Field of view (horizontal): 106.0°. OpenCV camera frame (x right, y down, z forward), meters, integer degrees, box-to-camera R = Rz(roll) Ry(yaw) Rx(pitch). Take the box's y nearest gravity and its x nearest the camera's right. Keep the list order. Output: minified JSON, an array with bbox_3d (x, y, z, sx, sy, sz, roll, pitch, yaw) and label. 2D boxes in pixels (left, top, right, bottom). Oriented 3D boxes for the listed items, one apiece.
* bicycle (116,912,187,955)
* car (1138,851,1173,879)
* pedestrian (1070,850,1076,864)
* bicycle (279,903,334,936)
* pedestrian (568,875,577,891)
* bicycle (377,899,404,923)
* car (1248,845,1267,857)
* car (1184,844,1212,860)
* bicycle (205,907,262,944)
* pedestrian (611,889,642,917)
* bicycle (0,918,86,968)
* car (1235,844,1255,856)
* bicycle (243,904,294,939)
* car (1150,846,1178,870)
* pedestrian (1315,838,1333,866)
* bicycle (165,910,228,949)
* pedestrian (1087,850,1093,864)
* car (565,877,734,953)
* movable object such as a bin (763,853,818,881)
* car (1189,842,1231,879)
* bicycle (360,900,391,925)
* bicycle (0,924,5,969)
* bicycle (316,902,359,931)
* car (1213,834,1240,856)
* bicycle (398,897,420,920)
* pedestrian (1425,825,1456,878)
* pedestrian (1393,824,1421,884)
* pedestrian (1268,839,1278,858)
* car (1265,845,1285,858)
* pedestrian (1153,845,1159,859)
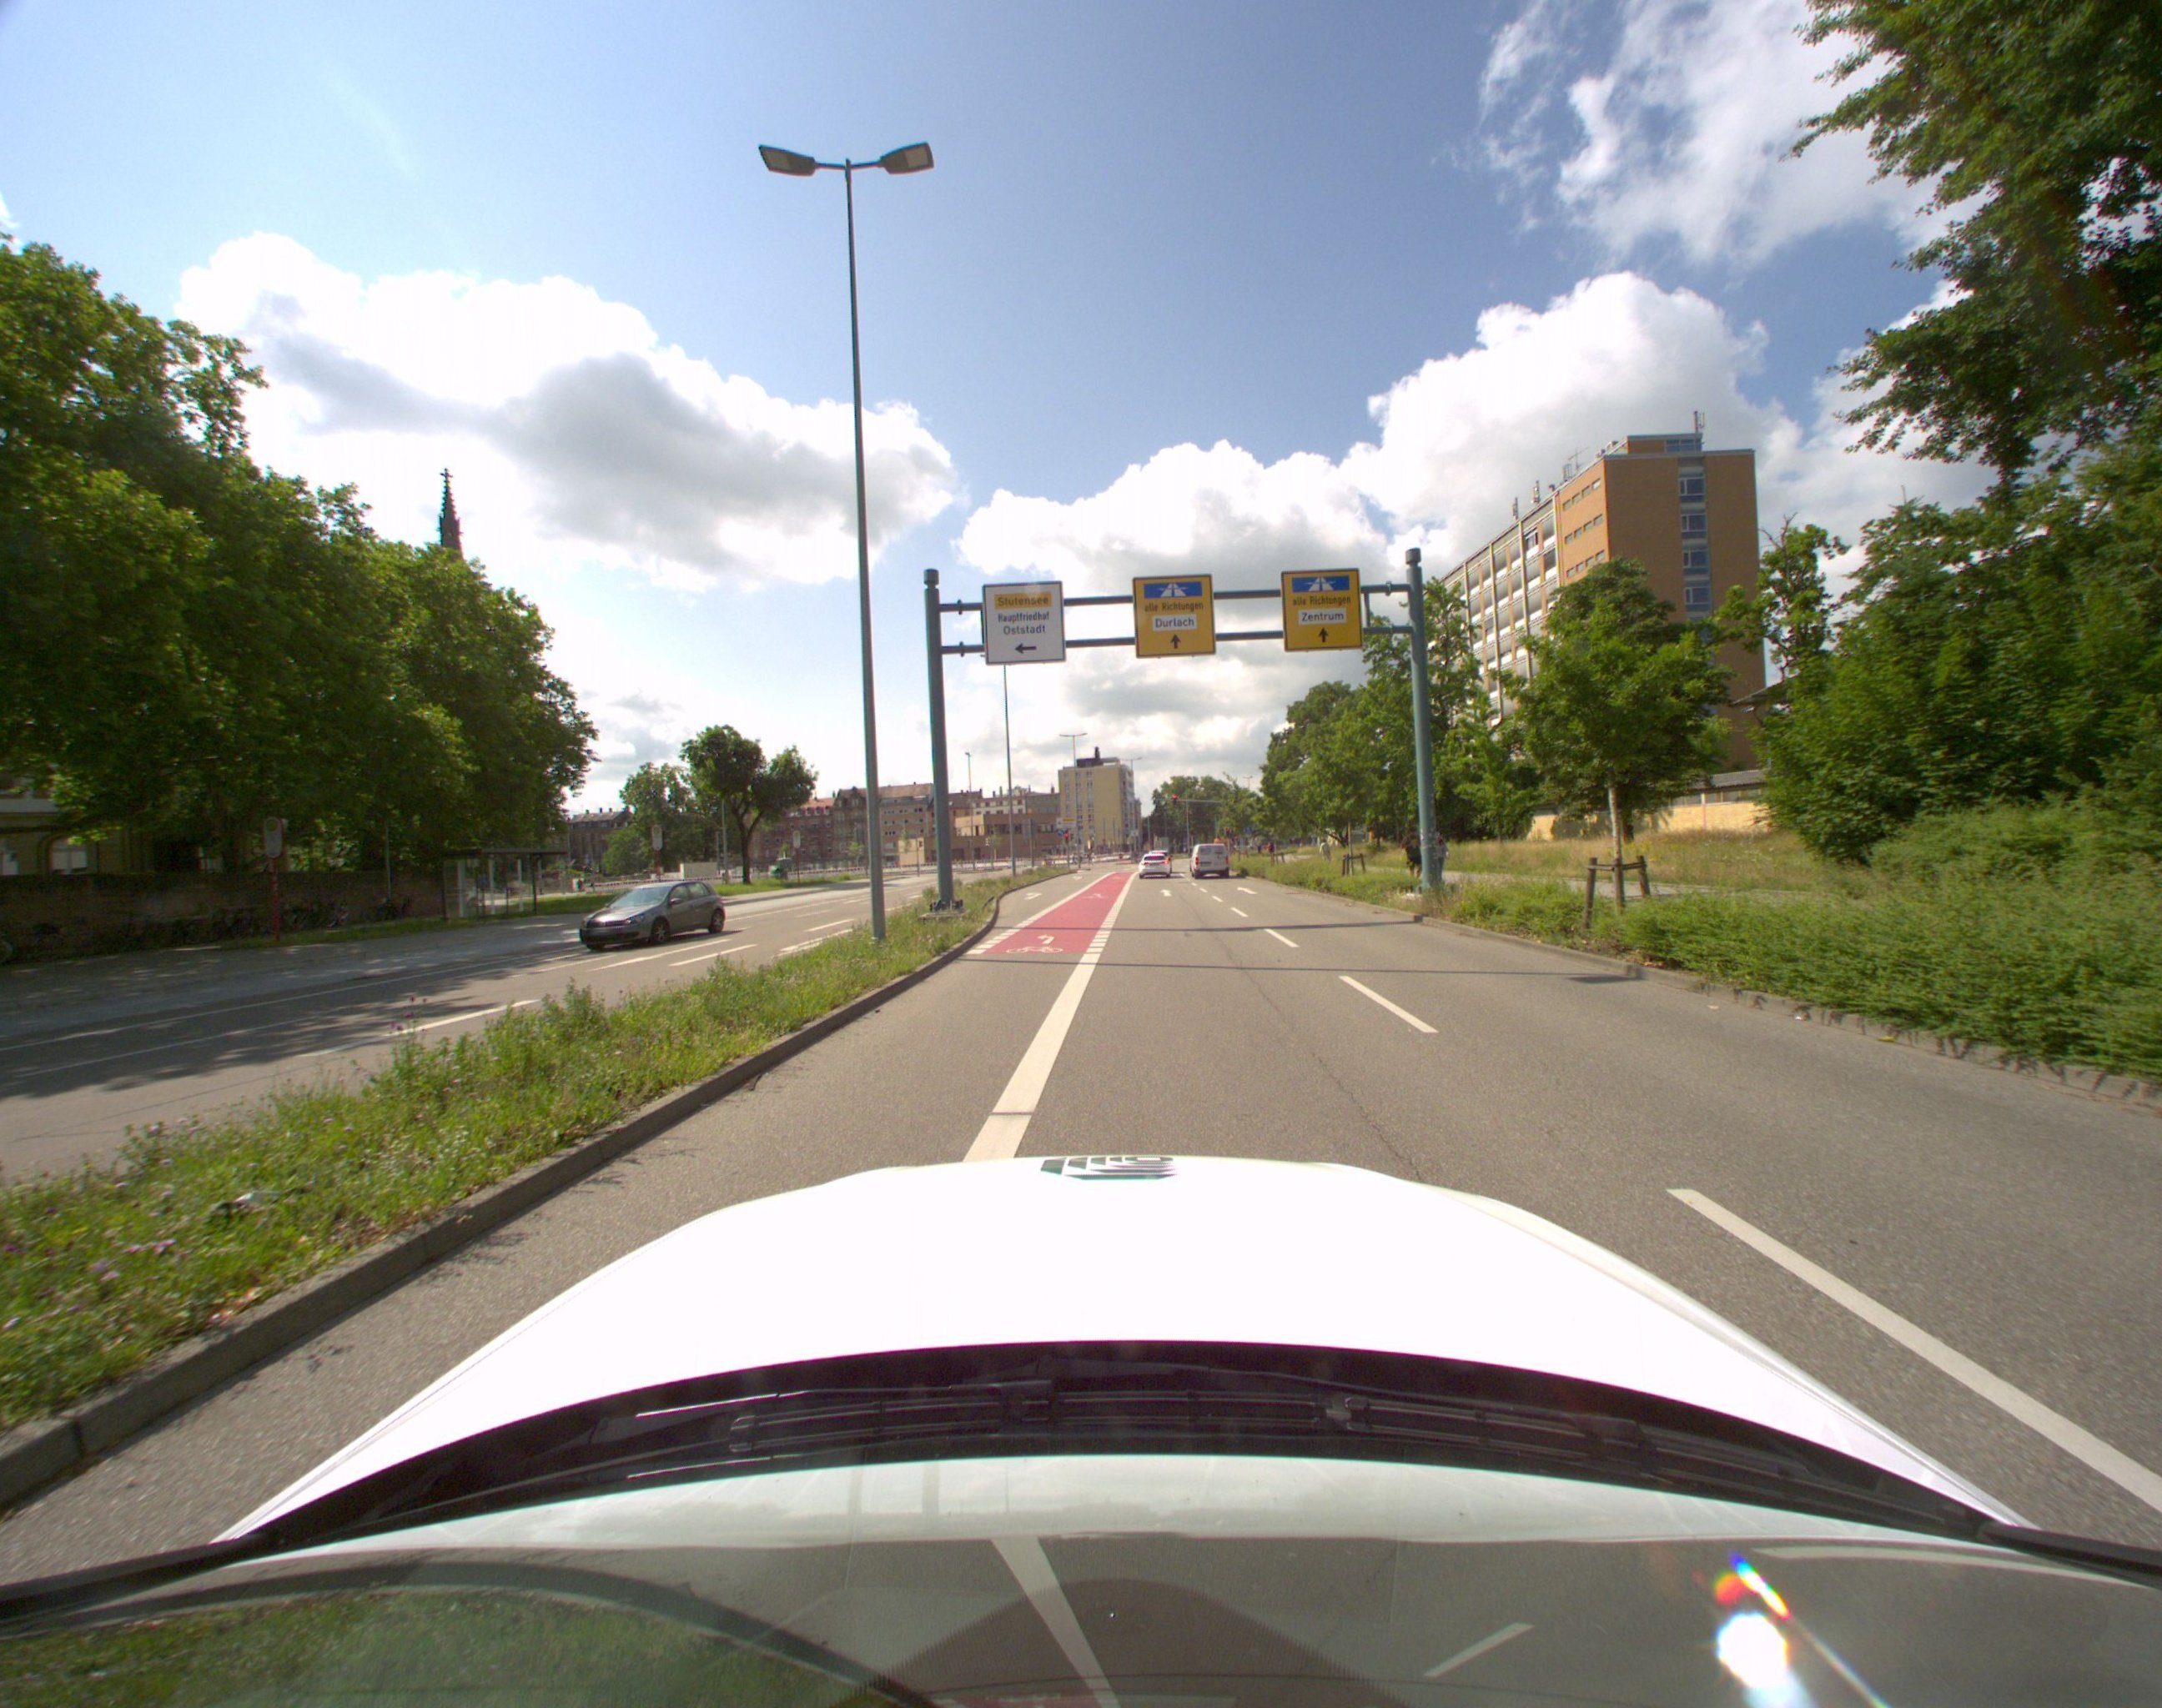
[{"bbox_3d":[-27.230,2.316,23.892,0.584,1.073,1.621,-3,0,-18],"label":"bicycle"},{"bbox_3d":[4.408,0.616,48.200,1.894,1.424,4.391,-3,0,5],"label":"car"},{"bbox_3d":[-0.972,0.374,99.946,0.521,1.733,0.626,-3,0,14],"label":"pedestrian"},{"bbox_3d":[-29.382,2.469,30.929,0.583,1.073,1.861,-3,0,-13],"label":"bicycle"},{"bbox_3d":[-58.195,3.311,93.218,0.524,1.850,0.501,-3,-1,11],"label":"pedestrian"},{"bbox_3d":[-32.350,2.660,38.154,0.392,1.011,1.362,-3,0,-17],"label":"bicycle"},{"bbox_3d":[30.396,-0.531,140.242,1.972,1.938,4.667,-4,0,28],"label":"car"},{"bbox_3d":[13.753,-0.197,95.593,1.974,1.816,4.025,0,0,30],"label":"car"},{"bbox_3d":[-28.260,2.375,27.191,0.584,1.073,1.621,-3,0,-18],"label":"bicycle"},{"bbox_3d":[-16.964,1.828,30.399,0.691,0.963,0.743,-2,0,2],"label":"pedestrian"},{"bbox_3d":[-26.260,2.228,20.544,0.584,1.073,1.745,-3,0,-18],"label":"bicycle"},{"bbox_3d":[26.958,-0.715,134.112,1.974,1.826,4.025,-4,0,30],"label":"car"},{"bbox_3d":[-28.869,2.386,28.965,0.584,1.073,1.621,-3,0,-18],"label":"bicycle"},{"bbox_3d":[5.708,0.262,56.250,1.782,1.539,4.017,-1,0,5],"label":"car"},{"bbox_3d":[14.625,-0.139,49.016,0.863,1.638,0.722,-3,0,6],"label":"pedestrian"},{"bbox_3d":[-27.694,2.344,25.529,0.584,1.073,1.621,-3,0,-18],"label":"bicycle"},{"bbox_3d":[1.069,0.380,98.565,0.521,1.733,0.626,-3,0,14],"label":"pedestrian"},{"bbox_3d":[-10.533,1.431,20.264,1.693,1.445,4.150,-4,0,4],"label":"car"},{"bbox_3d":[-33.838,1.506,94.986,5.573,2.884,2.260,-3,-1,-42],"label":"movable object such as a bin"},{"bbox_3d":[7.156,0.313,45.561,1.933,1.870,4.832,-3,0,5],"label":"car"},{"bbox_3d":[-31.724,2.603,36.648,0.472,1.011,1.448,-3,0,-17],"label":"bicycle"},{"bbox_3d":[-25.698,2.199,18.488,0.584,1.073,1.745,-3,0,-18],"label":"bicycle"},{"bbox_3d":[-30.460,2.542,33.394,0.472,1.011,1.953,-3,0,-17],"label":"bicycle"},{"bbox_3d":[20.056,-1.270,111.895,2.110,2.780,4.667,-4,0,28],"label":"car"},{"bbox_3d":[-33.011,2.669,40.002,0.353,1.011,1.247,-3,0,-17],"label":"bicycle"},{"bbox_3d":[11.011,-0.087,24.957,0.620,1.581,0.709,-3,0,4],"label":"pedestrian"},{"bbox_3d":[9.985,-0.005,24.951,0.564,1.801,0.639,-3,0,4],"label":"pedestrian"},{"bbox_3d":[17.641,-0.529,74.730,0.738,1.735,0.680,-3,0,8],"label":"pedestrian"},{"bbox_3d":[32.659,-0.401,136.900,1.972,1.938,4.667,-4,0,28],"label":"car"},{"bbox_3d":[9.160,-0.295,99.040,0.521,1.684,0.626,-3,0,14],"label":"pedestrian"}]
